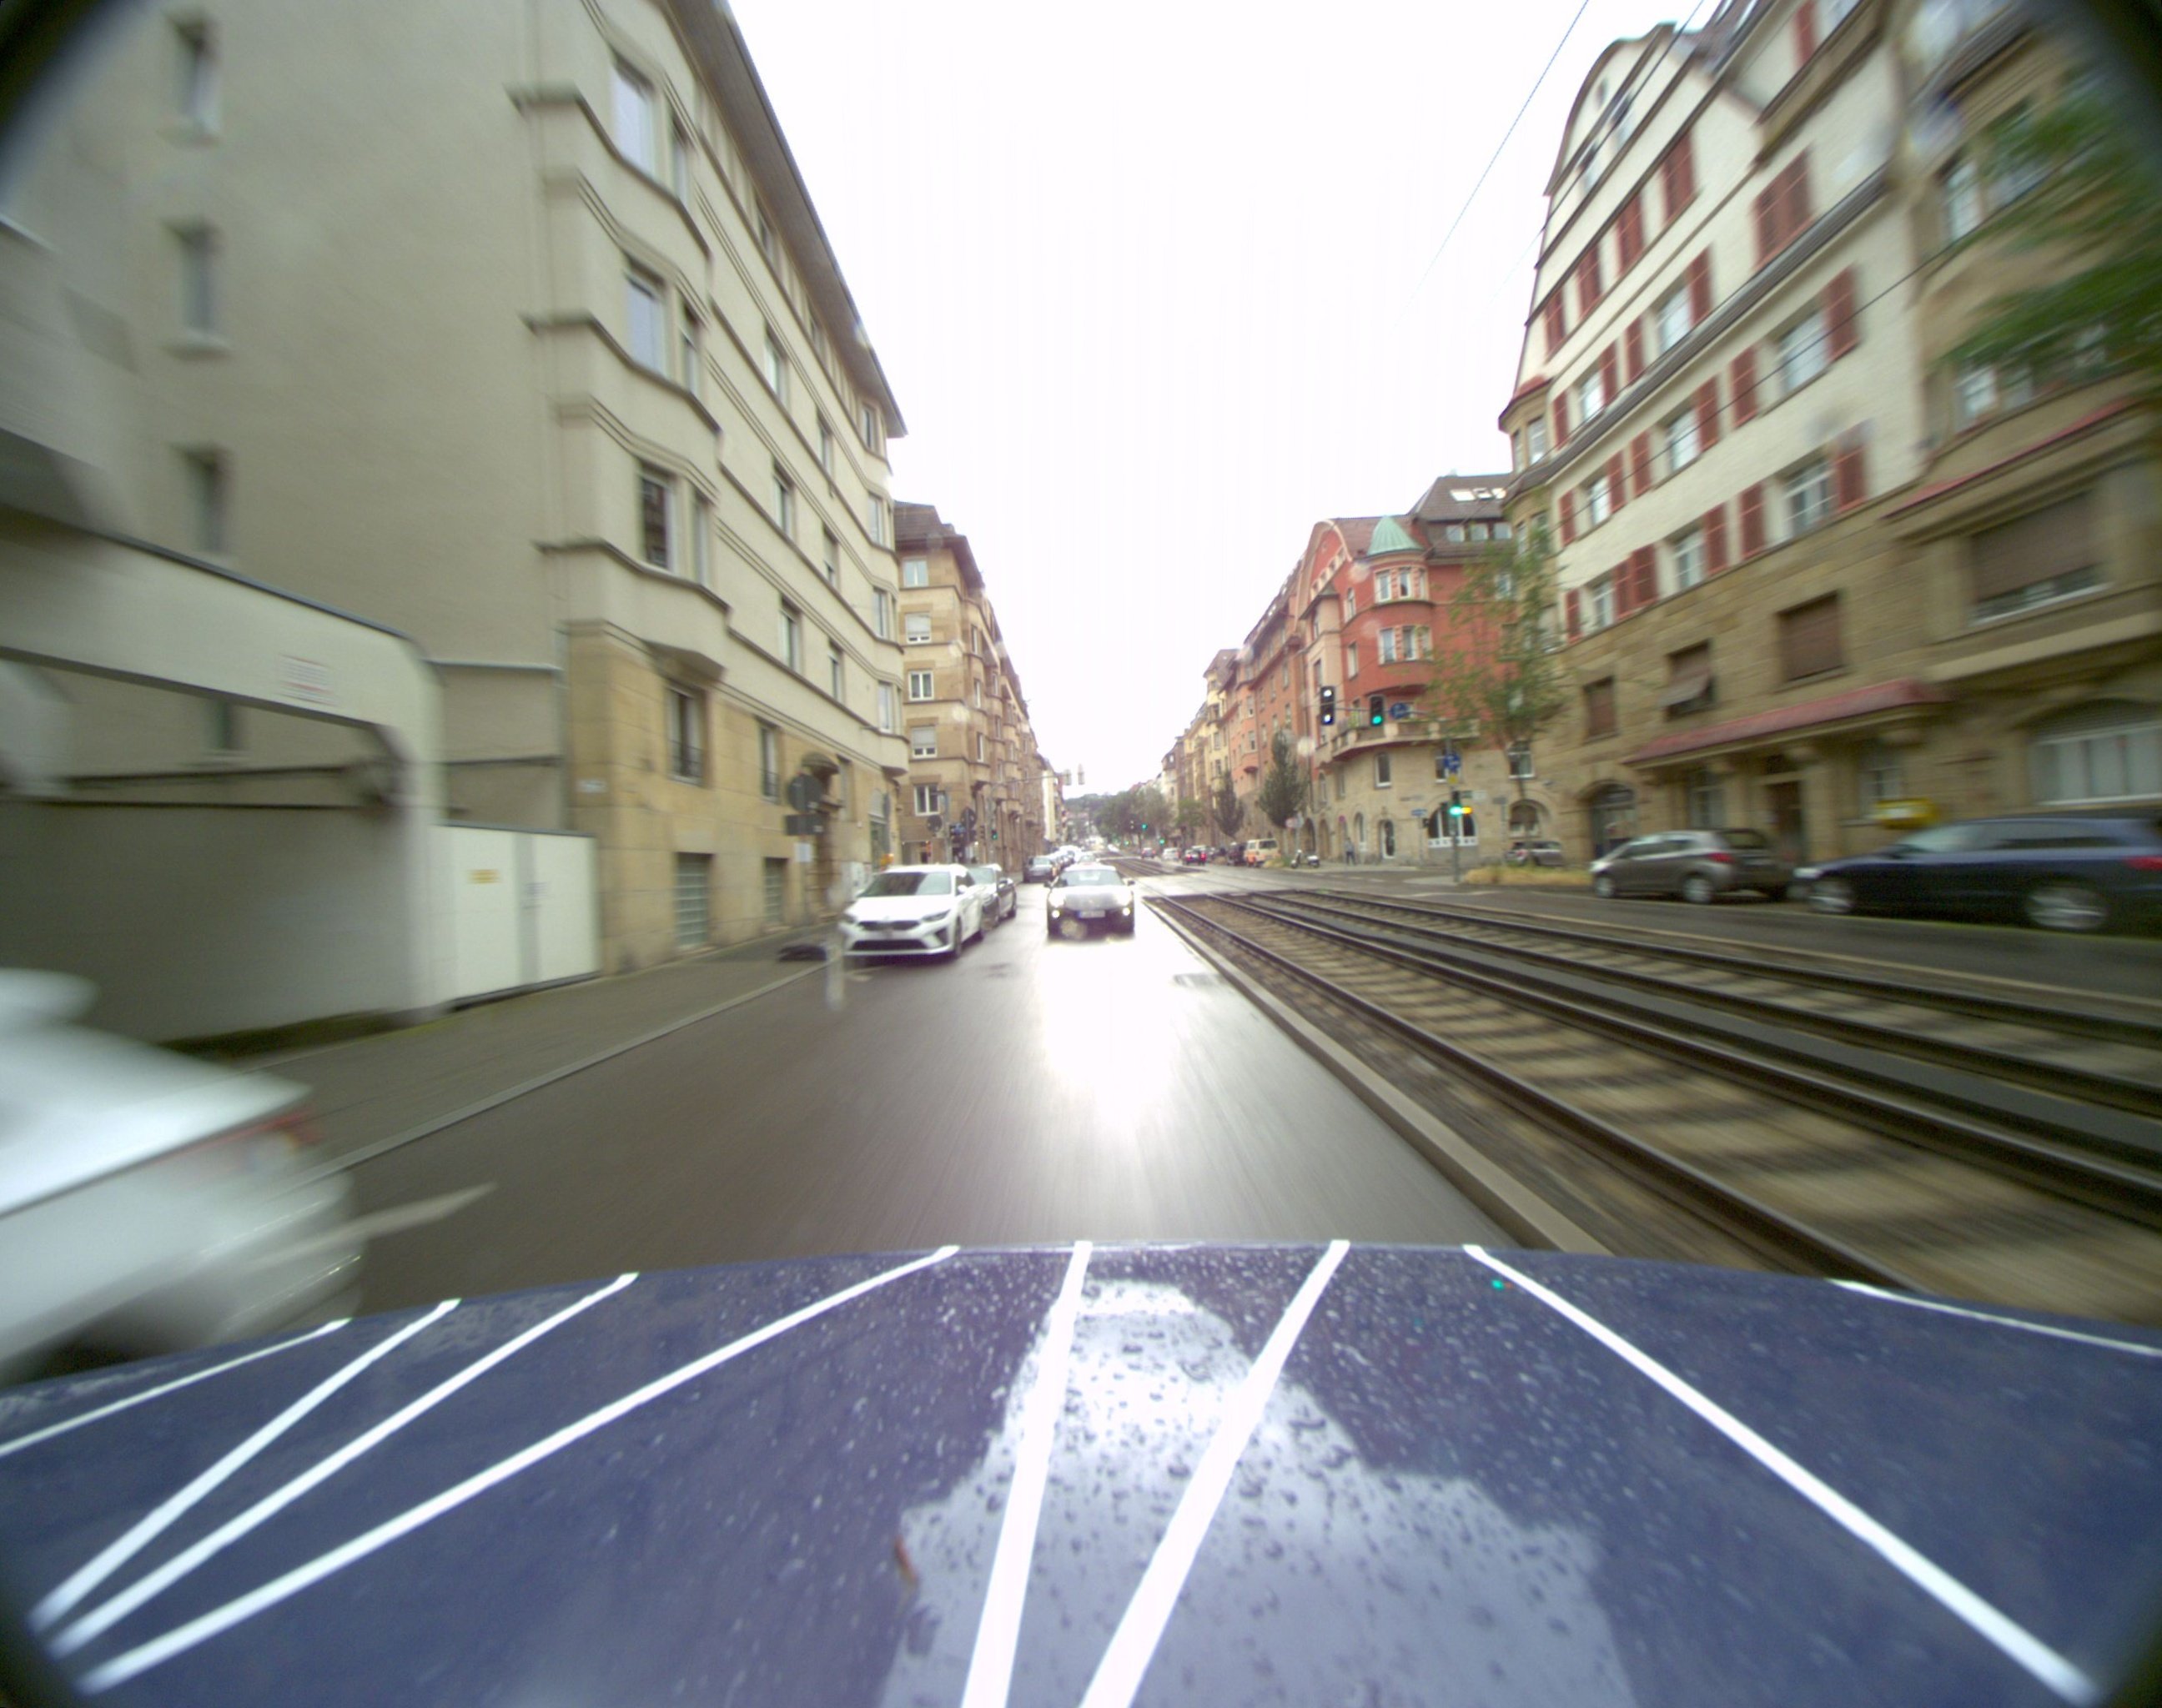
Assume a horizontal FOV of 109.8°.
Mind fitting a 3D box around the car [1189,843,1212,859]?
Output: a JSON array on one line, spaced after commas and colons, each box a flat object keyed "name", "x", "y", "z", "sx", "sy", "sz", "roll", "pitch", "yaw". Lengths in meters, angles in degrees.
[{"name": "car", "x": 13.326, "y": -0.357, "z": 84.927, "sx": 1.759, "sy": 1.663, "sz": 4.259, "roll": -5, "pitch": 1, "yaw": 0}]

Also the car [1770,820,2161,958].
[{"name": "car", "x": 12.507, "y": 0.326, "z": 10.304, "sx": 1.785, "sy": 1.451, "sz": 4.977, "roll": -2, "pitch": 1, "yaw": 0}]

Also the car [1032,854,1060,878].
[{"name": "car", "x": -2.356, "y": 0.808, "z": 51.654, "sx": 1.710, "sy": 1.444, "sz": 3.532, "roll": -3, "pitch": 1, "yaw": -1}]

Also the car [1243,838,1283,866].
[{"name": "car", "x": 13.096, "y": -0.165, "z": 54.922, "sx": 1.732, "sy": 1.919, "sz": 4.475, "roll": -2, "pitch": 1, "yaw": 0}]

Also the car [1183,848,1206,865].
[{"name": "car", "x": 10.479, "y": 0.223, "z": 70.393, "sx": 1.657, "sy": 1.454, "sz": 3.734, "roll": -1, "pitch": 0, "yaw": 1}]

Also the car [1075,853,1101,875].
[{"name": "car", "x": 0.556, "y": 0.720, "z": 57.660, "sx": 1.793, "sy": 1.459, "sz": 4.257, "roll": -2, "pitch": 1, "yaw": 1}]

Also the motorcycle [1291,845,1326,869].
[{"name": "motorcycle", "x": 13.248, "y": 0.171, "z": 44.194, "sx": 1.779, "sy": 1.367, "sz": 0.769, "roll": -1, "pitch": 2, "yaw": 33}]

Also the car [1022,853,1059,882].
[{"name": "car", "x": -2.409, "y": 0.780, "z": 45.904, "sx": 1.872, "sy": 1.540, "sz": 3.991, "roll": -3, "pitch": 1, "yaw": 1}]

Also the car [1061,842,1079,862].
[{"name": "car", "x": -1.458, "y": -0.268, "z": 103.944, "sx": 1.991, "sy": 2.520, "sz": 6.154, "roll": -3, "pitch": 1, "yaw": 3}]

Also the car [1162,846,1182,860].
[{"name": "car", "x": 10.522, "y": -0.080, "z": 88.234, "sx": 1.785, "sy": 1.494, "sz": 4.061, "roll": -2, "pitch": 1, "yaw": 0}]

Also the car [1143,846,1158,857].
[{"name": "car", "x": 10.898, "y": -0.480, "z": 119.069, "sx": 1.926, "sy": 1.608, "sz": 4.128, "roll": -2, "pitch": 1, "yaw": 0}]

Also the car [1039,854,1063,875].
[{"name": "car", "x": -2.282, "y": 0.806, "z": 58.965, "sx": 1.598, "sy": 1.478, "sz": 3.522, "roll": -2, "pitch": 1, "yaw": 1}]

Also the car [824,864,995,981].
[{"name": "car", "x": -2.707, "y": 1.009, "z": 13.169, "sx": 1.716, "sy": 1.459, "sz": 4.773, "roll": -2, "pitch": 1, "yaw": 1}]

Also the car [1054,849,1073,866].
[{"name": "car", "x": -1.866, "y": 0.374, "z": 82.970, "sx": 1.811, "sy": 1.758, "sz": 3.962, "roll": -2, "pitch": 1, "yaw": 1}]

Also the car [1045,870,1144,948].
[{"name": "car", "x": 0.287, "y": 1.010, "z": 15.544, "sx": 1.737, "sy": 1.262, "sz": 4.258, "roll": 0, "pitch": 0, "yaw": 1}]

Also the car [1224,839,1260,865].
[{"name": "car", "x": 13.086, "y": -0.203, "z": 62.183, "sx": 1.910, "sy": 1.919, "sz": 4.831, "roll": -2, "pitch": 1, "yaw": 0}]

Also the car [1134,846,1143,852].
[{"name": "car", "x": 13.600, "y": -1.234, "z": 179.683, "sx": 1.794, "sy": 1.339, "sz": 4.257, "roll": -2, "pitch": 1, "yaw": 1}]

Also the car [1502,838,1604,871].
[{"name": "car", "x": 23.732, "y": 0.016, "z": 38.284, "sx": 3.997, "sy": 1.458, "sz": 1.747, "roll": -2, "pitch": 1, "yaw": 1}]

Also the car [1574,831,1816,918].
[{"name": "car", "x": 12.645, "y": 0.343, "z": 16.052, "sx": 1.694, "sy": 1.520, "sz": 4.175, "roll": -2, "pitch": 1, "yaw": 0}]

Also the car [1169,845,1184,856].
[{"name": "car", "x": 13.734, "y": -0.539, "z": 109.644, "sx": 1.759, "sy": 1.443, "sz": 4.043, "roll": -5, "pitch": 1, "yaw": 2}]

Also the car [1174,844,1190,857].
[{"name": "car", "x": 13.743, "y": -0.501, "z": 103.582, "sx": 1.717, "sy": 1.473, "sz": 3.712, "roll": -5, "pitch": 1, "yaw": 2}]

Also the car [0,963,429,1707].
[{"name": "car", "x": -2.941, "y": 1.087, "z": 0.110, "sx": 1.794, "sy": 1.378, "sz": 4.394, "roll": -2, "pitch": 1, "yaw": 1}]

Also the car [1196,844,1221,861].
[{"name": "car", "x": 13.257, "y": -0.183, "z": 79.265, "sx": 1.760, "sy": 1.482, "sz": 4.597, "roll": -4, "pitch": 1, "yaw": -1}]

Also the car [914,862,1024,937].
[{"name": "car", "x": -2.564, "y": 0.994, "z": 18.535, "sx": 1.715, "sy": 1.402, "sz": 4.817, "roll": -2, "pitch": 1, "yaw": 3}]

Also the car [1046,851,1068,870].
[{"name": "car", "x": -2.119, "y": 0.592, "z": 68.120, "sx": 1.774, "sy": 1.592, "sz": 3.999, "roll": -1, "pitch": 1, "yaw": 0}]

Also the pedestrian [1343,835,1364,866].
[{"name": "pedestrian", "x": 15.950, "y": -0.212, "z": 44.528, "sx": 0.718, "sy": 1.710, "sz": 0.892, "roll": -8, "pitch": 1, "yaw": 1}]

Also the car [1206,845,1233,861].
[{"name": "car", "x": 13.464, "y": -0.103, "z": 74.208, "sx": 1.760, "sy": 1.396, "sz": 3.694, "roll": -4, "pitch": 1, "yaw": -2}]
